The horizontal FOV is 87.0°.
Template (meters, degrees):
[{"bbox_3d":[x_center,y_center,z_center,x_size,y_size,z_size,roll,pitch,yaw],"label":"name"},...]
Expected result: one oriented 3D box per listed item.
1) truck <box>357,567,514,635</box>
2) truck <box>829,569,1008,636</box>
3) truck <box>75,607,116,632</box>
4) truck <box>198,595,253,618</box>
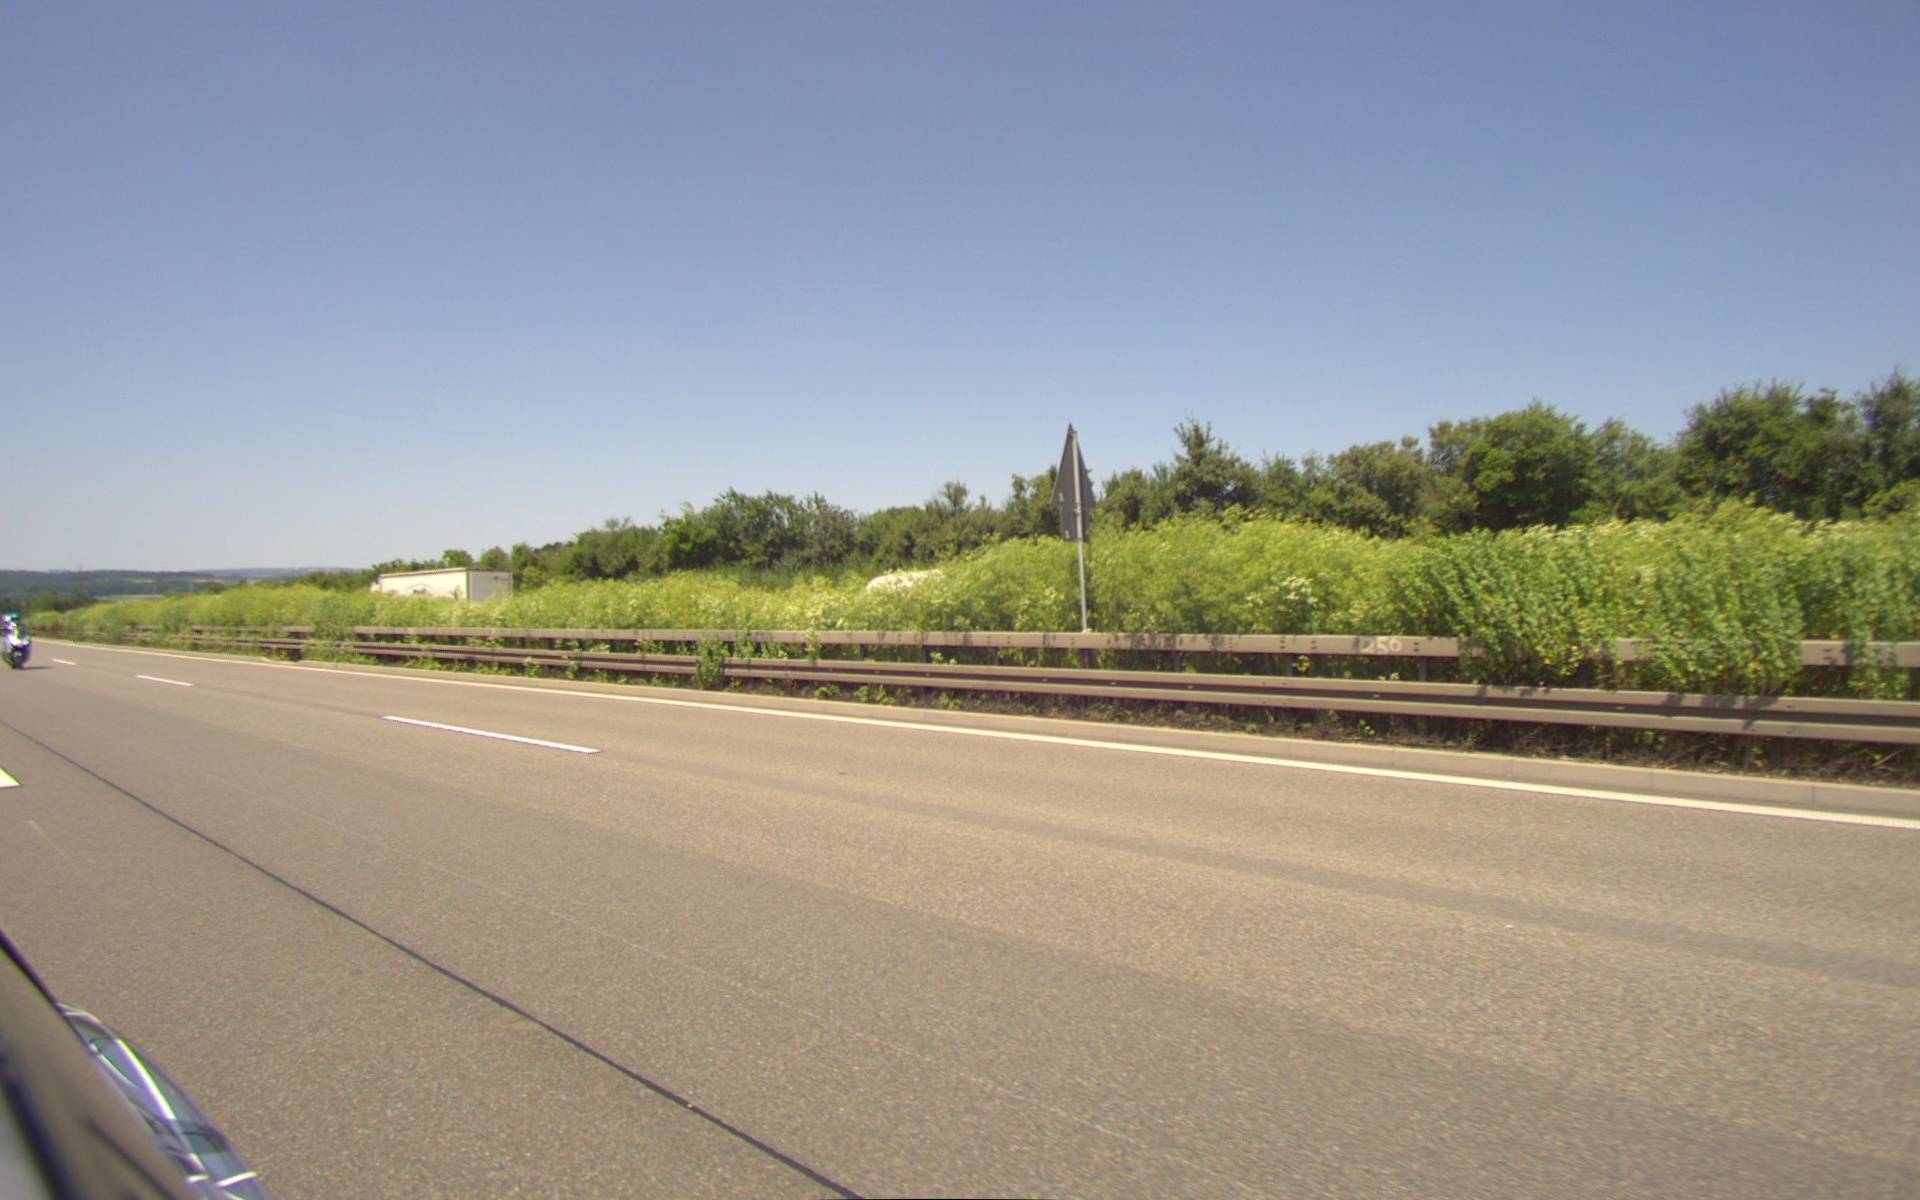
[{"bbox_3d":[-32.194,0.293,61.424,16.831,3.576,2.775,-2,-3,42],"label":"truck"},{"bbox_3d":[-1.525,0.162,33.762,6.396,2.029,1.972,-2,-2,42],"label":"truck"},{"bbox_3d":[-143.740,3.310,168.082,18.533,3.638,3.195,-2,1,44],"label":"truck"},{"bbox_3d":[-72.984,0.706,100.483,9.857,2.029,2.624,-2,-2,43],"label":"truck"}]
